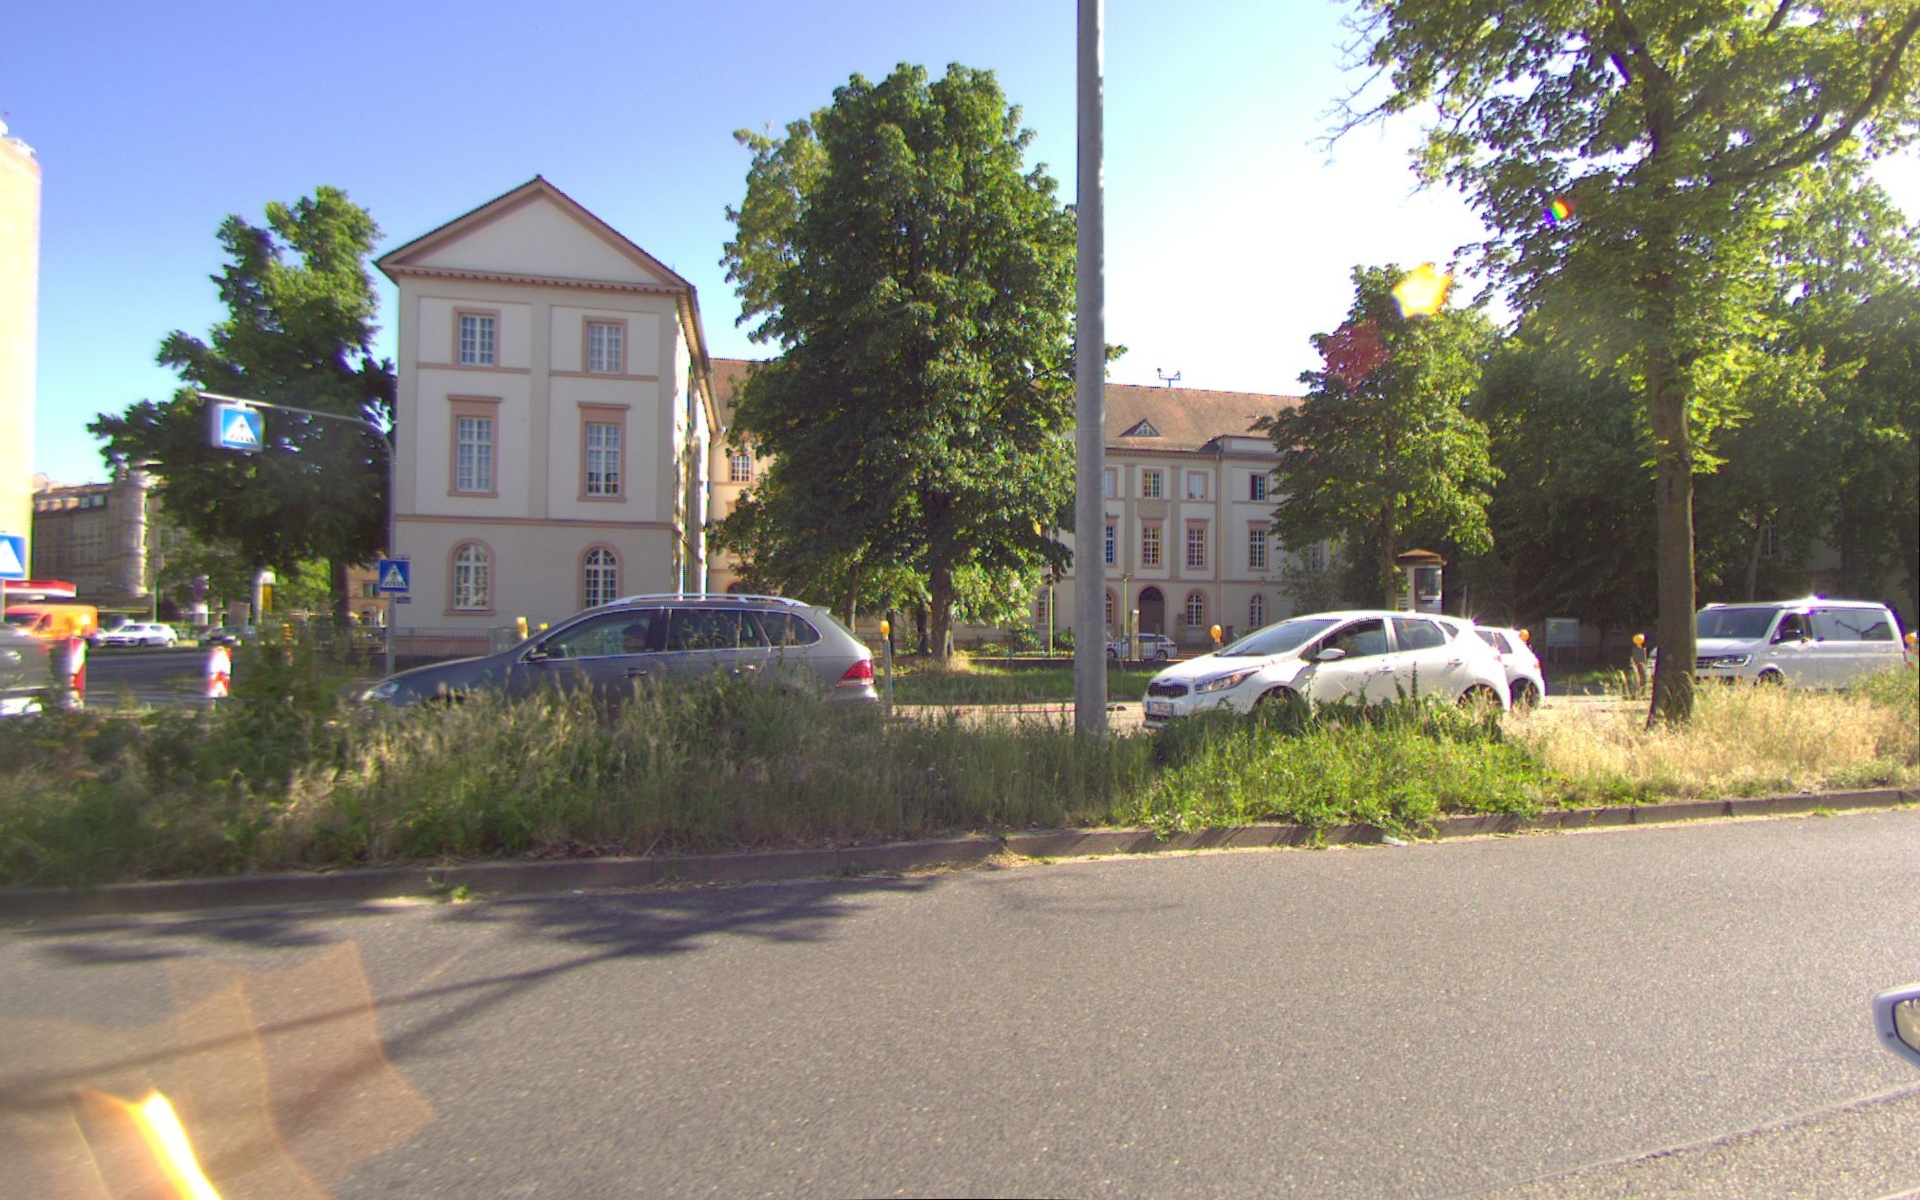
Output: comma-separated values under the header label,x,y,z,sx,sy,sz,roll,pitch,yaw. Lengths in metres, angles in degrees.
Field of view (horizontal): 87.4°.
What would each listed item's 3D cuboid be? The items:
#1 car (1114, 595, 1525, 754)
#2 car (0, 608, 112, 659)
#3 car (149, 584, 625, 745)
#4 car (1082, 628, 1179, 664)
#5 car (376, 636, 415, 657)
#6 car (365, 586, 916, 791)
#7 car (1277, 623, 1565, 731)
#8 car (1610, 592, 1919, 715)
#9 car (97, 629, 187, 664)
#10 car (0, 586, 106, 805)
label,x,y,z,sx,sy,sz,roll,pitch,yaw
car,3.995,0.783,11.255,4.140,1.539,1.794,1,-1,-19
car,-45.528,1.630,50.223,1.884,2.260,5.891,4,-1,-9
car,-6.002,0.689,11.169,4.279,1.539,1.794,2,-1,-19
car,8.767,2.378,51.670,4.613,1.511,1.641,4,-2,-18
car,-49.924,4.077,88.913,1.822,1.728,3.991,1,-1,-12
car,-2.713,0.700,9.102,4.295,1.539,1.794,1,0,-19
car,7.240,1.157,15.835,4.016,1.539,1.794,1,-1,-19
car,14.910,0.976,18.659,4.939,2.055,2.231,1,-1,-19
car,-47.556,2.668,58.519,1.885,1.838,4.703,4,-1,-10
car,-8.894,0.611,6.830,4.279,1.539,1.794,2,-1,-19
